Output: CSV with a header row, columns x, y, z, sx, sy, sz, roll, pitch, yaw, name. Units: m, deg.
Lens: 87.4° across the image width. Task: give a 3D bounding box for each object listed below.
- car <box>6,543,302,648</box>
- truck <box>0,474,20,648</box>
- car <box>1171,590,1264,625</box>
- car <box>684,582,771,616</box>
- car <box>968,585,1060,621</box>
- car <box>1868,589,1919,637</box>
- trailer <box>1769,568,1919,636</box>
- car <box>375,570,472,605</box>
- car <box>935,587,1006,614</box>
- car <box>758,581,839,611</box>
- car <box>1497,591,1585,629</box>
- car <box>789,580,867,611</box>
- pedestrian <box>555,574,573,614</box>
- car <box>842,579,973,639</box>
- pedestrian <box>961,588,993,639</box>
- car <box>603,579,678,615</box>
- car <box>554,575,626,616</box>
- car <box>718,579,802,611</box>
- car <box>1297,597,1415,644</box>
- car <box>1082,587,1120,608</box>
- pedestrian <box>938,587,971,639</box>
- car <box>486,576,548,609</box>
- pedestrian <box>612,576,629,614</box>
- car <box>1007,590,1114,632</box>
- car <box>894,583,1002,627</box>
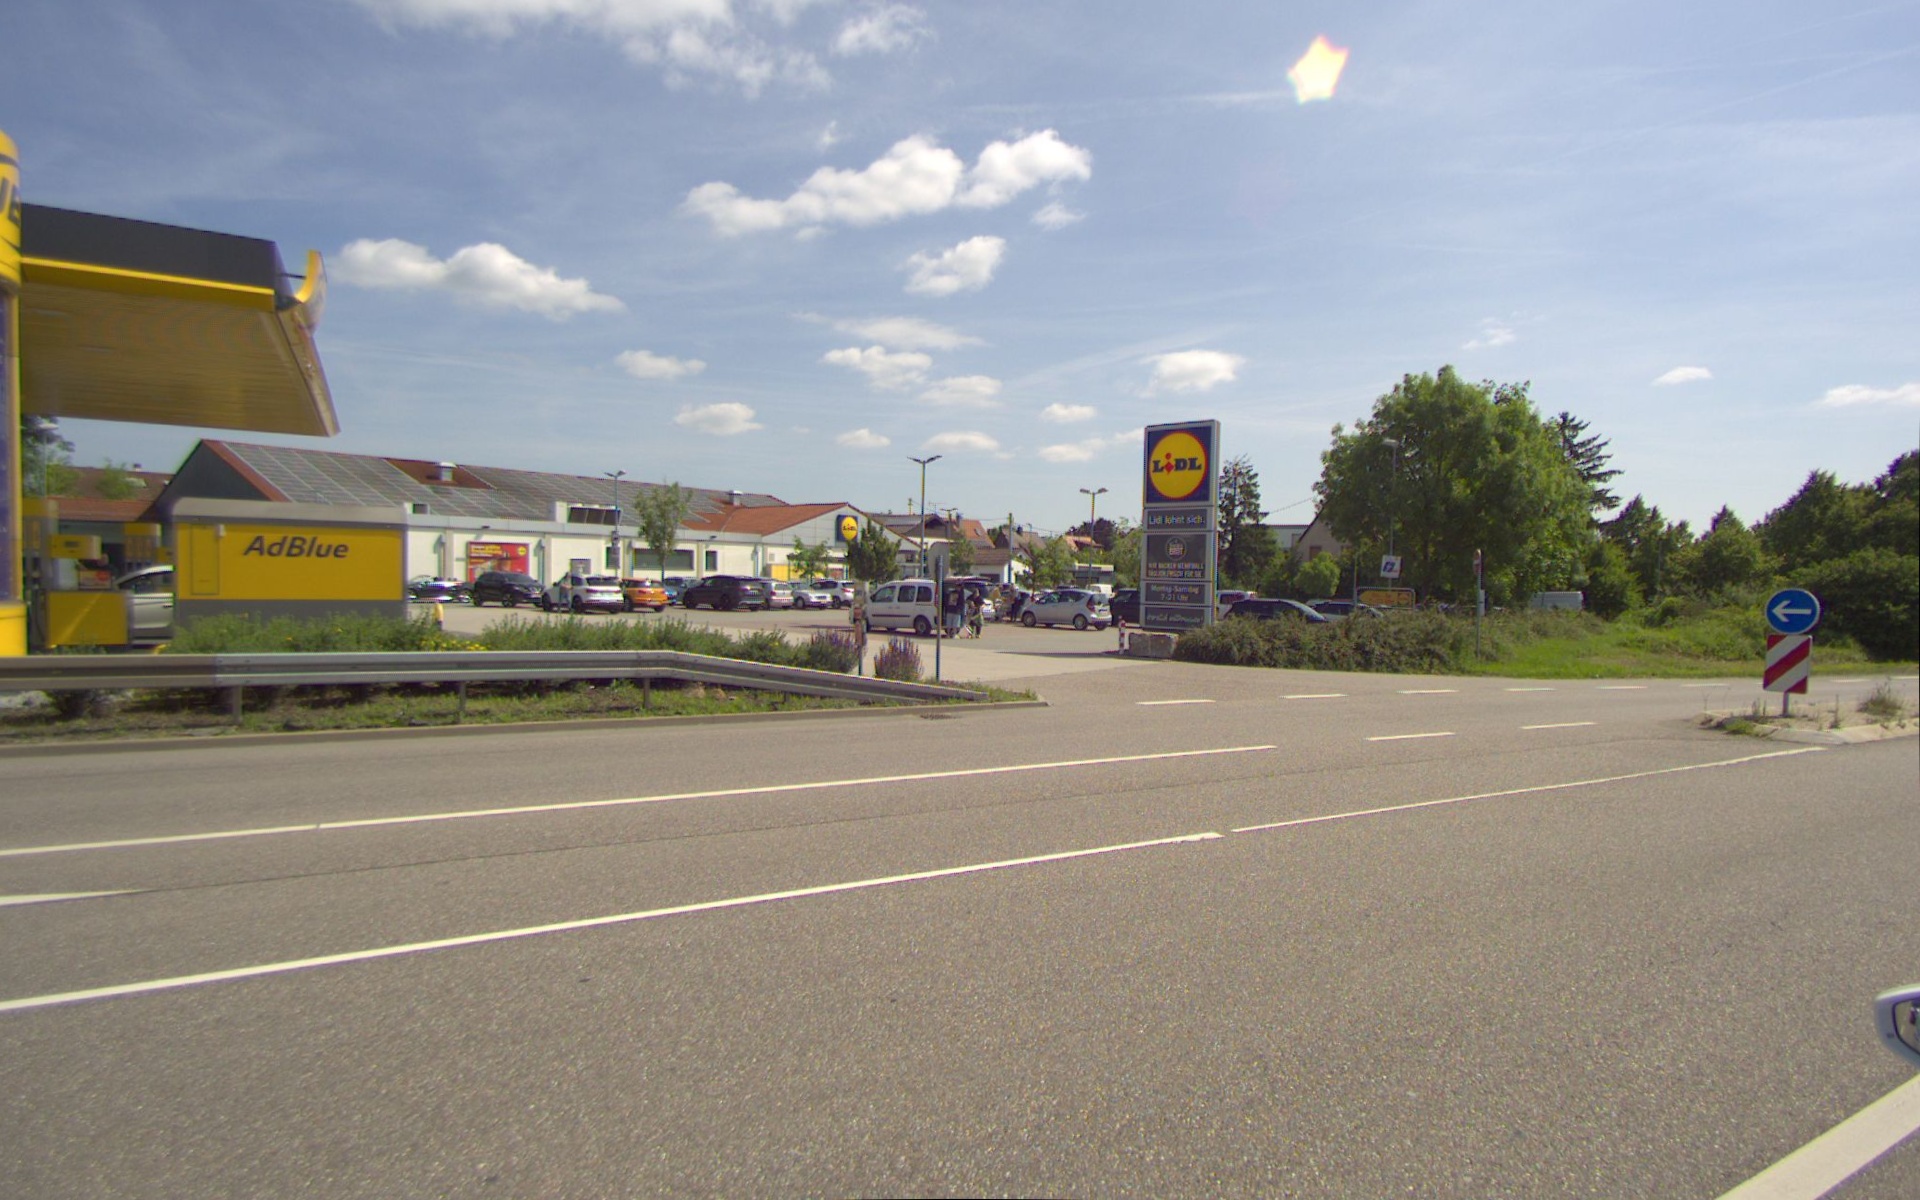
x,y,z,sx,sy,sz,roll,pitch,yaw,name
-14.571,-0.049,18.469,3.949,1.751,1.726,1,-1,-27,car
-18.955,-0.747,15.395,6.213,2.961,2.233,2,0,-32,truck
13.677,0.375,53.477,4.354,1.717,1.994,1,0,34,car
-11.044,-0.077,47.674,3.933,1.461,1.880,2,1,35,car
2.496,0.121,46.828,3.936,1.549,1.772,2,0,38,car
54.427,0.769,56.651,2.081,2.690,5.989,2,0,14,car
59.074,0.094,63.543,2.749,4.116,13.699,0,1,-11,trailer
-26.292,-0.591,49.308,1.727,1.634,3.856,1,0,41,car
0.649,0.030,62.836,4.194,1.562,1.871,2,0,40,car
-8.429,-0.216,52.209,3.933,1.461,1.880,2,1,35,car
36.720,0.611,63.519,4.525,2.209,1.992,2,1,37,car
-7.154,-0.267,54.394,3.933,1.461,1.880,3,1,35,car
-15.709,-0.248,39.848,0.512,1.573,0.500,2,0,-37,pedestrian
-1.793,0.263,33.617,4.102,1.836,1.873,2,1,38,car
0.547,0.436,32.484,0.692,1.596,0.807,2,0,33,pedestrian
-14.200,-0.167,44.559,1.870,1.461,3.954,1,1,-39,car
-15.387,-0.221,41.655,1.753,1.561,3.957,0,2,-37,car
-10.052,-0.265,50.387,3.933,1.461,1.880,2,1,35,car
15.350,0.784,39.035,3.942,1.679,1.685,2,0,42,car
13.053,-0.244,93.005,1.867,1.782,3.987,2,0,35,car
-0.170,0.410,31.686,0.692,1.596,0.807,2,0,33,pedestrian
-19.875,-0.362,44.987,1.702,1.328,3.957,1,1,-37,car
-14.268,-0.219,42.159,0.512,1.573,0.500,2,0,-37,pedestrian
4.123,0.437,41.486,4.082,1.522,1.775,3,1,39,car
-0.545,0.180,42.609,4.354,1.698,1.858,2,1,38,car
